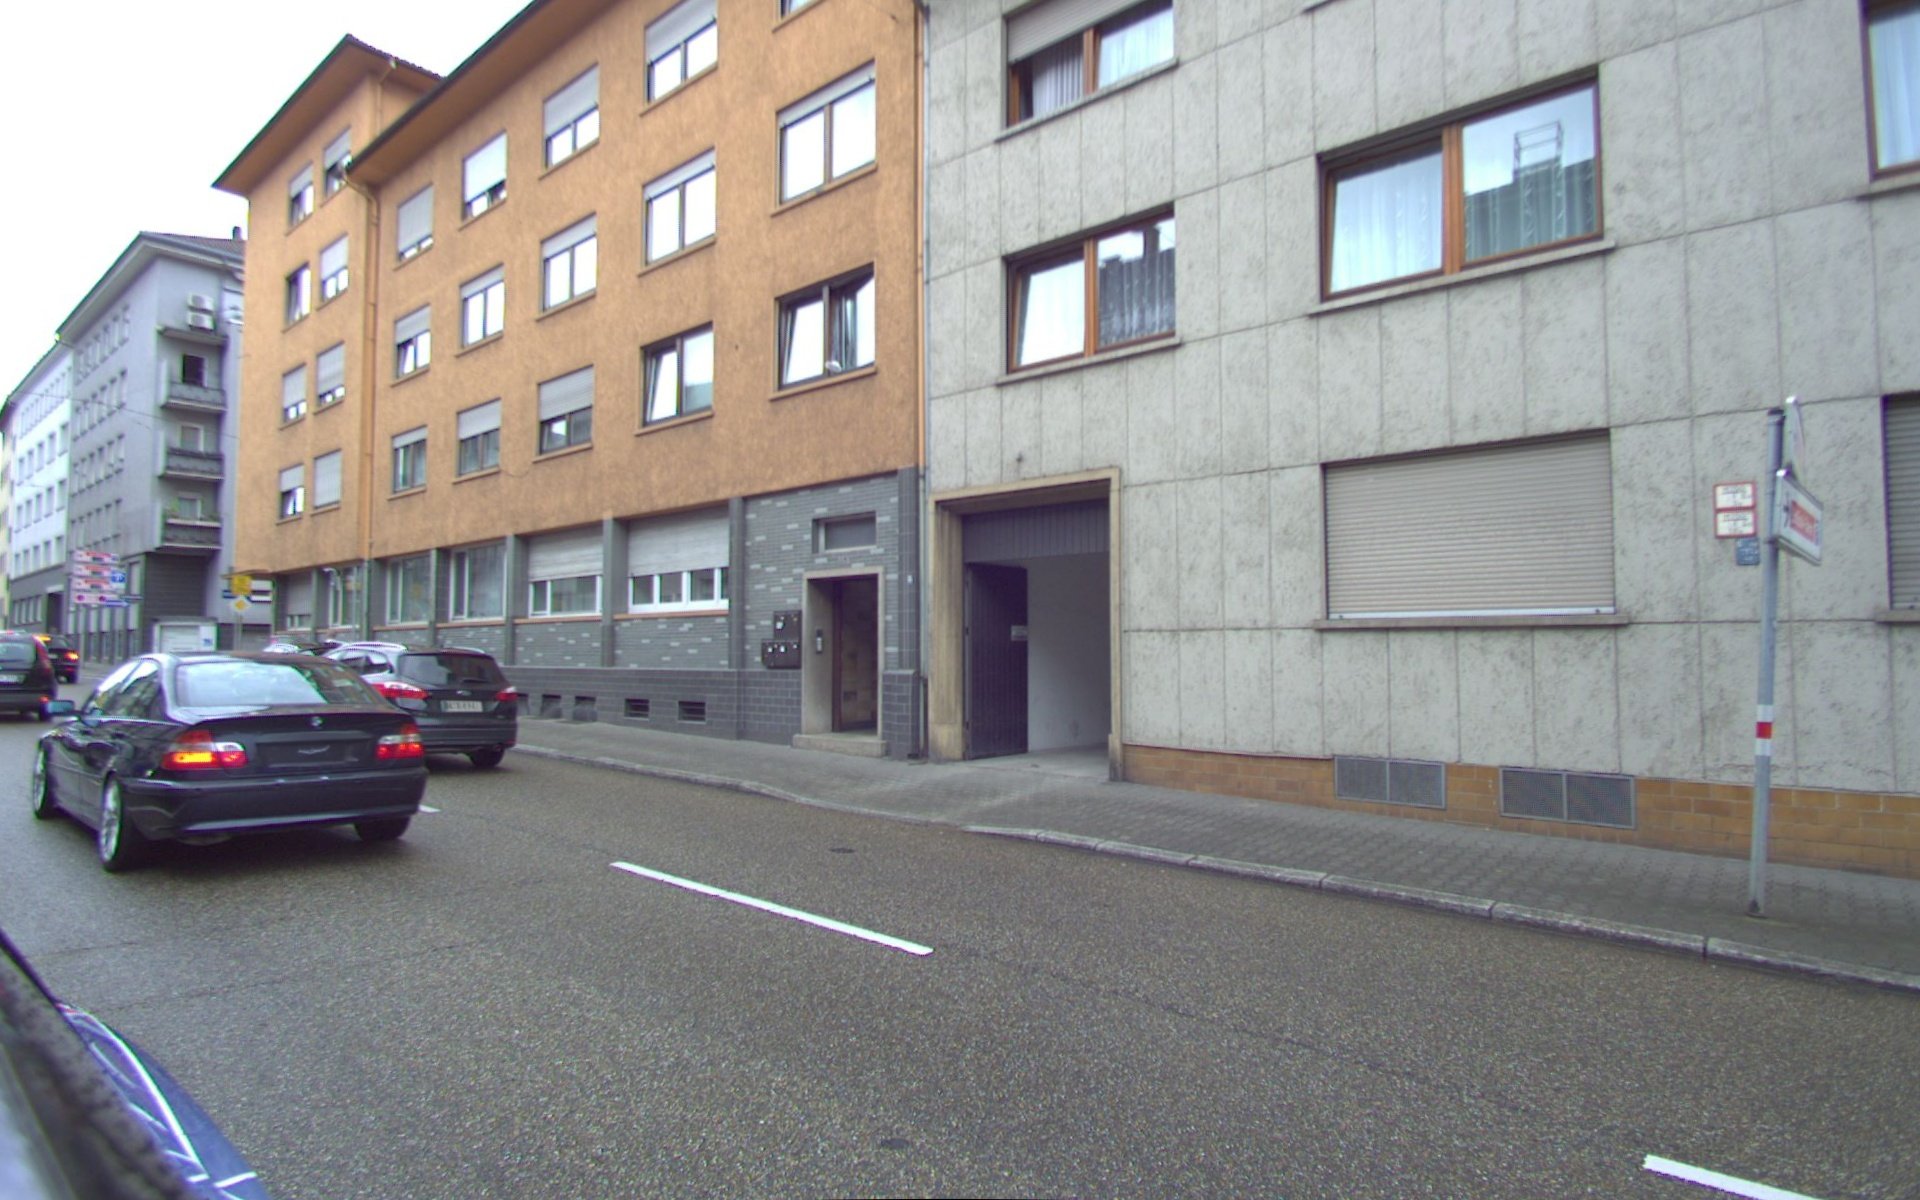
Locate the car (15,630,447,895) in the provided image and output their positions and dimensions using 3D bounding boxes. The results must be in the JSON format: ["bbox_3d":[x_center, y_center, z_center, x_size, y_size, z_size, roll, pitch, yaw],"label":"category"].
[{"bbox_3d":[-5.610,0.984,7.573,4.216,1.381,1.677,0,-4,42],"label":"car"}]

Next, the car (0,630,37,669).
[{"bbox_3d":[-46.490,2.384,49.277,4.216,1.735,1.832,-1,0,41],"label":"car"}]

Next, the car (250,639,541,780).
[{"bbox_3d":[-7.283,1.287,12.884,4.370,1.484,1.705,-2,-5,40],"label":"car"}]

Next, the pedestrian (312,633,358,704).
[{"bbox_3d":[-15.380,1.661,24.903,0.757,1.652,1.024,-1,0,-44],"label":"pedestrian"}]

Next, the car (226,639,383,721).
[{"bbox_3d":[-14.263,1.653,21.941,4.216,1.485,1.776,-1,0,41],"label":"car"}]

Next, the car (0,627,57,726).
[{"bbox_3d":[-16.984,1.235,17.290,4.213,1.551,1.602,-1,-4,39],"label":"car"}]

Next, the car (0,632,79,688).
[{"bbox_3d":[-29.039,1.820,31.484,4.433,1.551,1.677,-1,-7,40],"label":"car"}]
